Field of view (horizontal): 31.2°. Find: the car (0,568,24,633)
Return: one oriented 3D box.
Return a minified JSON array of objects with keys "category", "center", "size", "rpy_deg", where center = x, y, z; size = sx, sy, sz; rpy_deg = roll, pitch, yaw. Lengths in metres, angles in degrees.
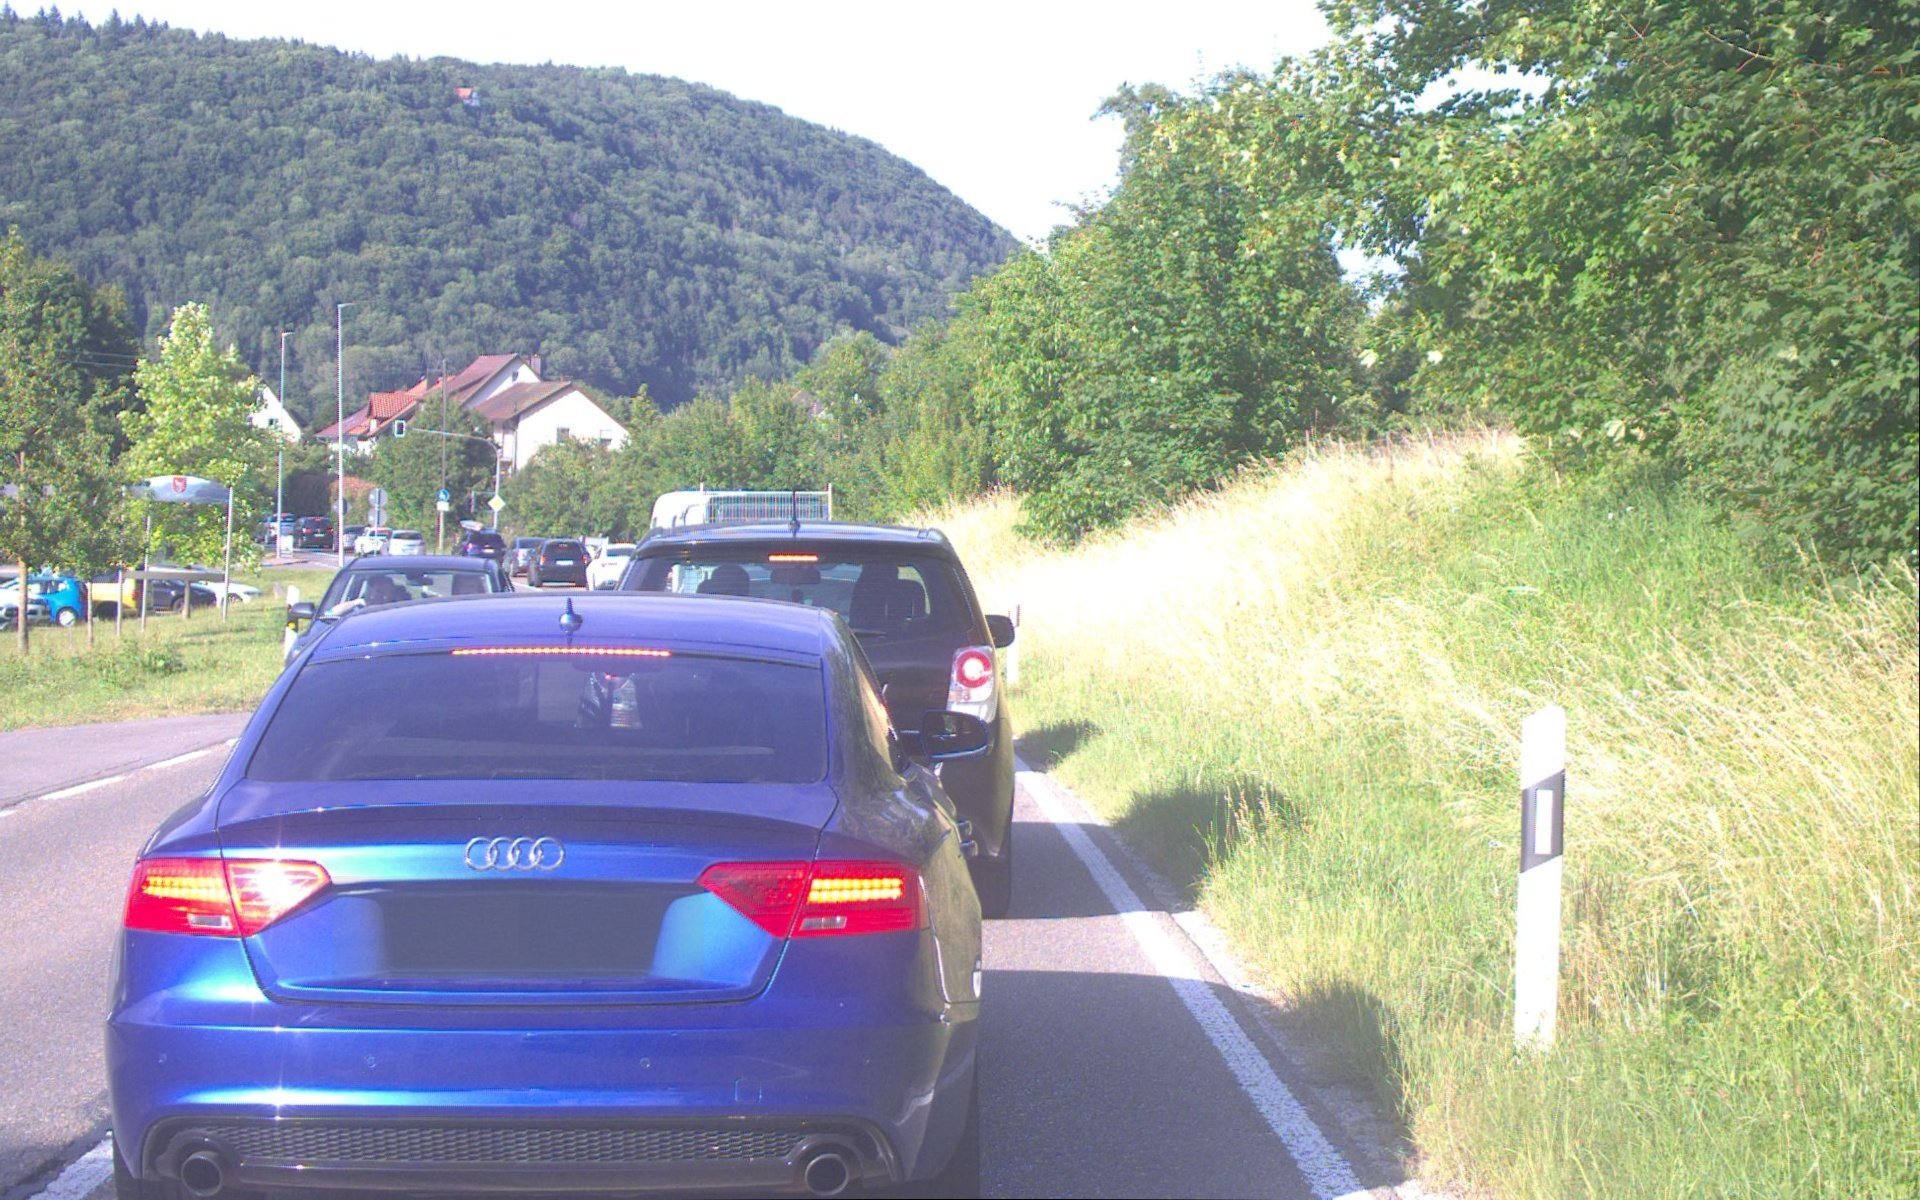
[{"category":"car","center":[-27.380,-0.013,92.264],"size":[3.986,1.705,2.000],"rpy_deg":[1,0,-3]}]

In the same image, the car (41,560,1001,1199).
[{"category":"car","center":[-0.802,0.634,8.256],"size":[1.754,1.425,3.846],"rpy_deg":[1,0,0]}]

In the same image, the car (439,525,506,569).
[{"category":"car","center":[-19.556,-2.132,137.861],"size":[1.845,1.706,4.001],"rpy_deg":[1,0,-20]}]

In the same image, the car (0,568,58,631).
[{"category":"car","center":[-27.318,-0.041,95.549],"size":[3.986,1.705,2.000],"rpy_deg":[1,0,-3]}]

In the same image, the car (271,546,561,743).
[{"category":"car","center":[-4.234,0.310,27.303],"size":[1.704,1.425,4.051],"rpy_deg":[1,0,-1]}]

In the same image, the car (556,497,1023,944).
[{"category":"car","center":[-0.637,0.443,14.991],"size":[1.754,1.675,3.846],"rpy_deg":[1,0,0]}]

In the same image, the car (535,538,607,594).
[{"category":"car","center":[-12.167,-1.056,107.329],"size":[1.845,1.706,4.001],"rpy_deg":[1,0,-12]}]

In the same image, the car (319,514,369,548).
[{"category":"car","center":[-31.741,-3.547,177.107],"size":[1.845,1.706,4.001],"rpy_deg":[1,0,-20]}]

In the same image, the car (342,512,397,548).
[{"category":"car","center":[-28.744,-3.387,167.274],"size":[1.845,1.706,4.001],"rpy_deg":[1,0,-22]}]

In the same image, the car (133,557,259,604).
[{"category":"car","center":[-26.329,-0.672,118.571],"size":[3.986,1.573,1.753],"rpy_deg":[1,0,-3]}]

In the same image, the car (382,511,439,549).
[{"category":"car","center":[-25.350,-3.203,158.420],"size":[1.845,1.706,4.001],"rpy_deg":[1,0,-20]}]

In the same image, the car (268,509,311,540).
[{"category":"car","center":[-38.330,-4.307,196.480],"size":[1.845,1.706,4.001],"rpy_deg":[1,0,-18]}]

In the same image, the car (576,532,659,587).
[{"category":"car","center":[-9.461,-1.112,94.686],"size":[1.845,1.477,4.001],"rpy_deg":[1,0,-12]}]

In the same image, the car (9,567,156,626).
[{"category":"car","center":[-26.528,-0.104,104.011],"size":[3.986,1.705,2.000],"rpy_deg":[1,0,-3]}]

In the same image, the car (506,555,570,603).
[{"category":"car","center":[-15.222,-0.762,123.967],"size":[1.845,1.706,4.001],"rpy_deg":[1,0,-13]}]

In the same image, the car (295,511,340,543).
[{"category":"car","center":[-35.114,-3.963,187.761],"size":[1.845,1.706,4.001],"rpy_deg":[1,0,-19]}]

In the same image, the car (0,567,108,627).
[{"category":"car","center":[-27.328,-0.092,101.336],"size":[3.986,1.705,2.000],"rpy_deg":[1,0,-3]}]

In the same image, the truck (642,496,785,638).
[{"category":"truck","center":[-4.801,-0.627,65.985],"size":[2.229,2.561,6.709],"rpy_deg":[1,0,-8]}]

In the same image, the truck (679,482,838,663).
[{"category":"truck","center":[-2.993,-0.420,52.087],"size":[2.229,2.561,6.104],"rpy_deg":[1,0,-2]}]

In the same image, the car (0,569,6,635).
[{"category":"car","center":[-26.858,0.027,88.608],"size":[3.986,1.705,2.000],"rpy_deg":[1,0,-3]}]
